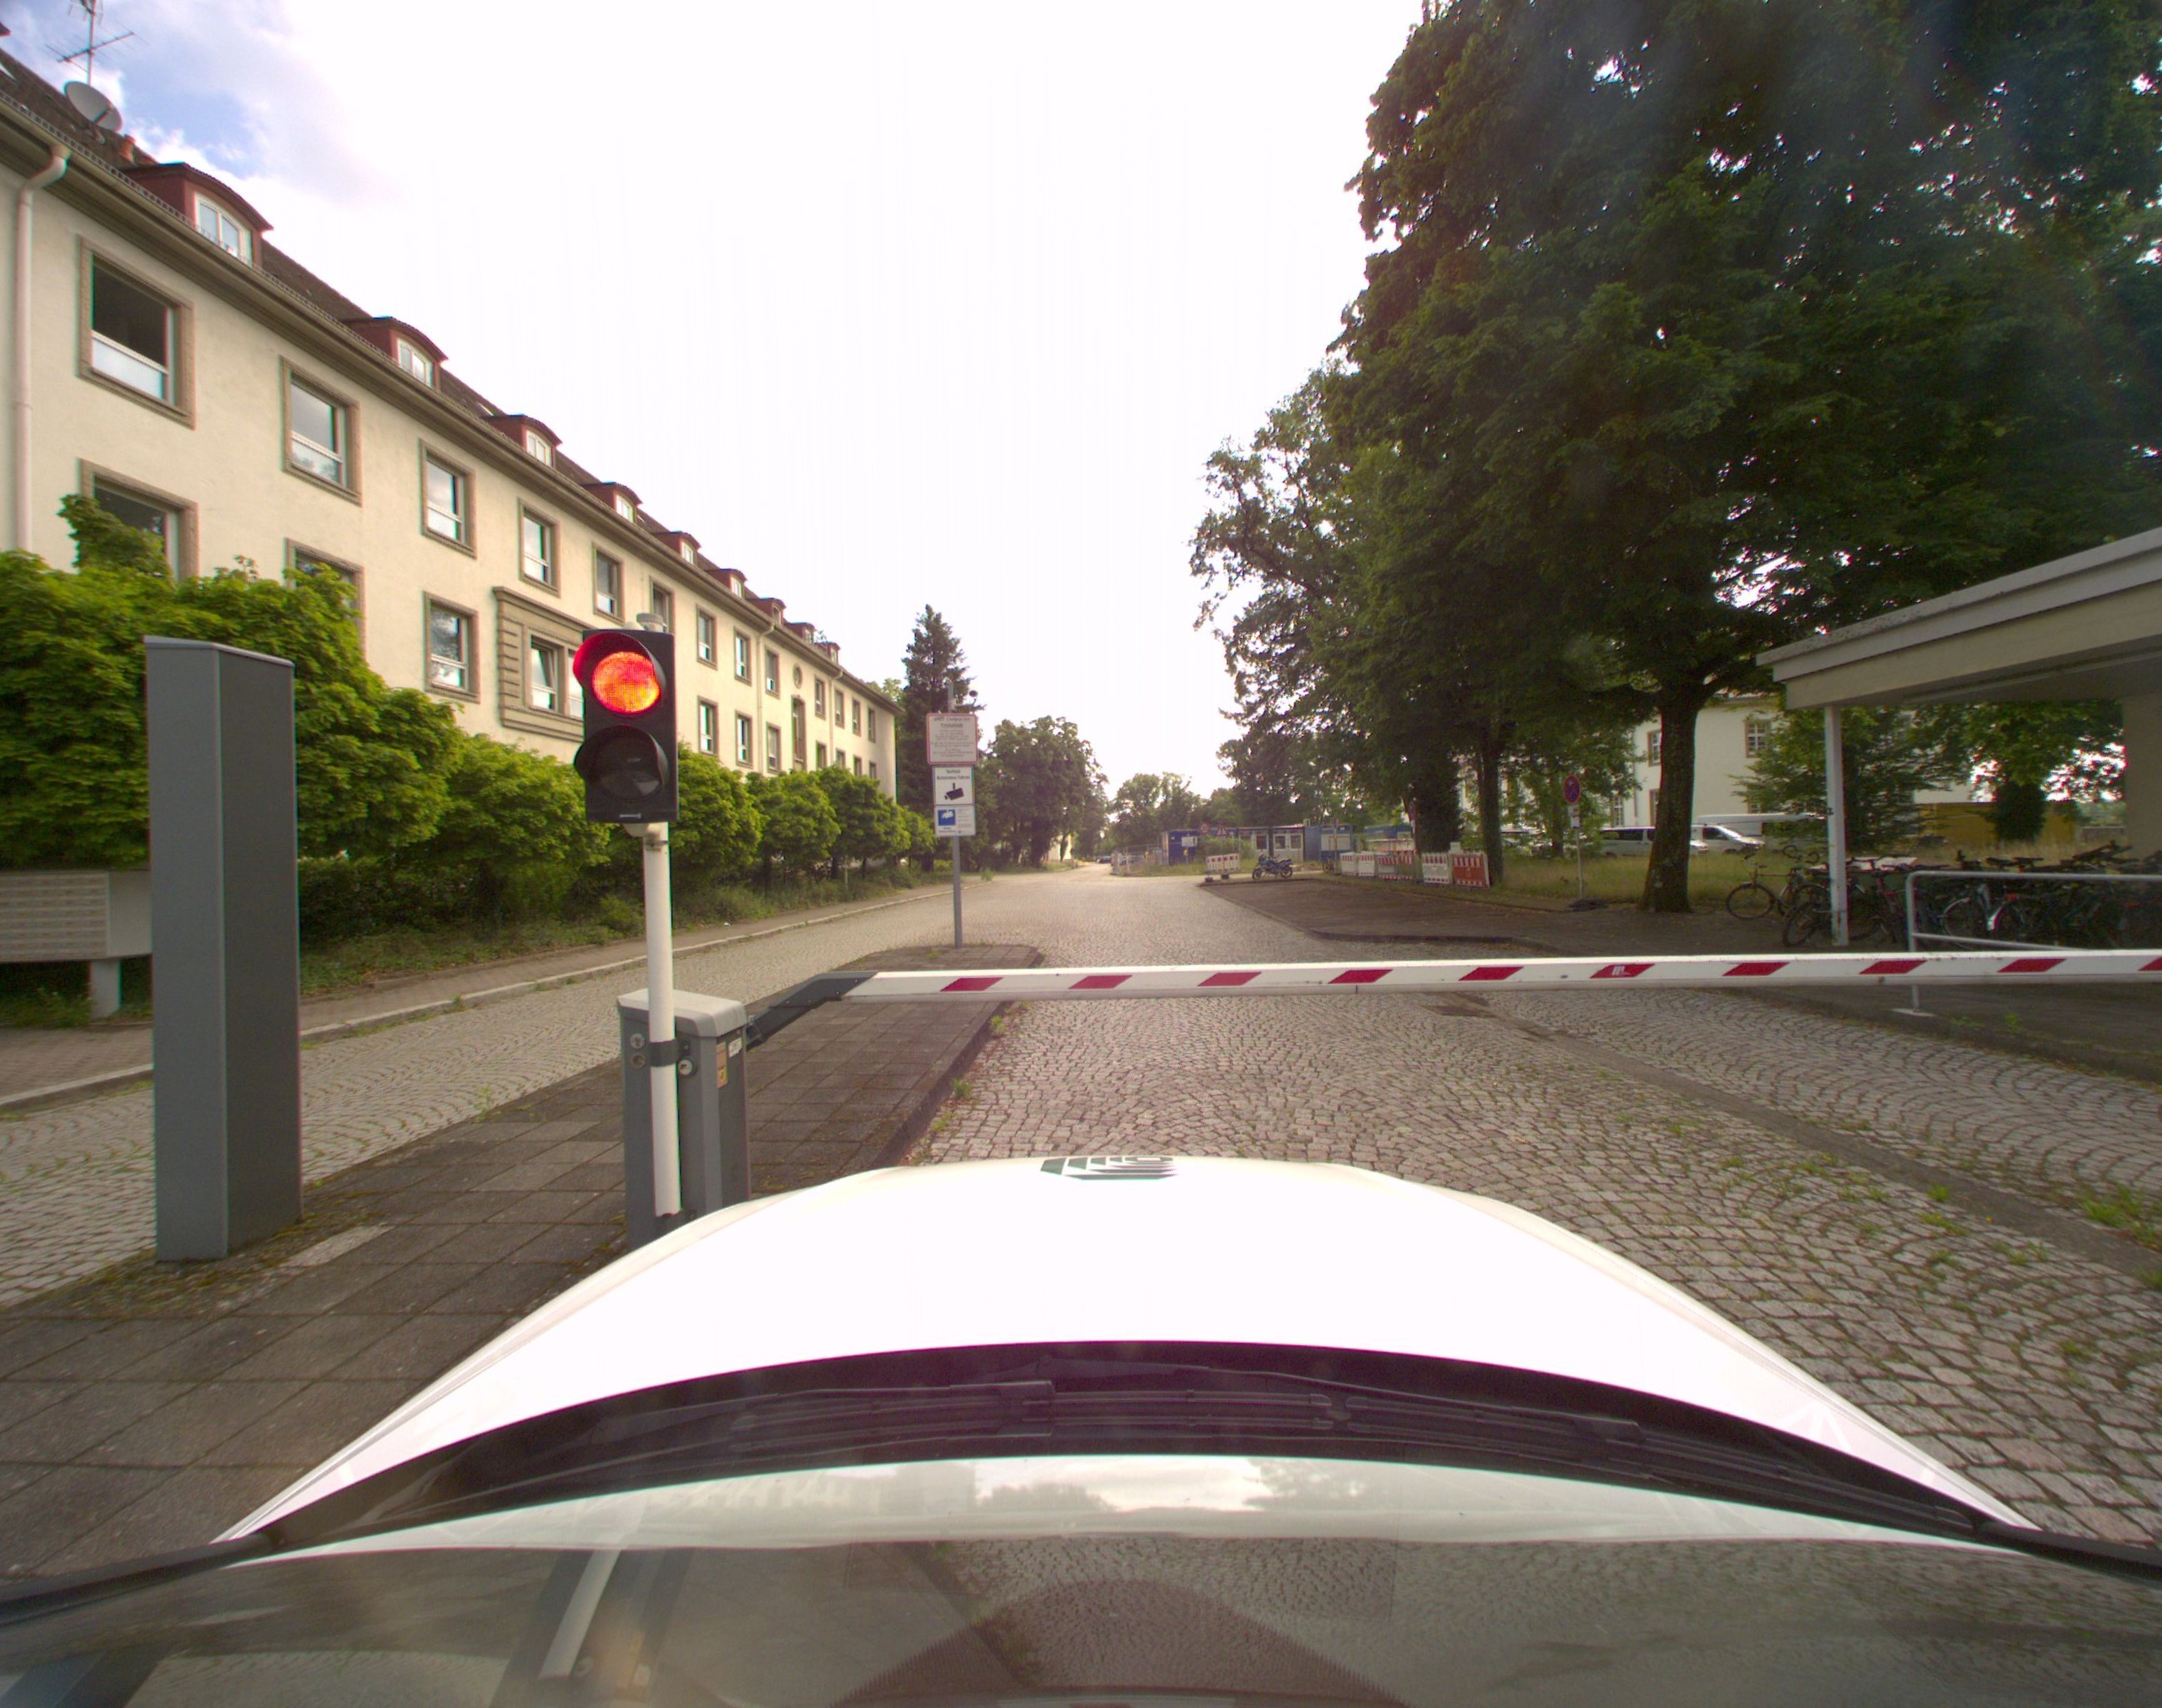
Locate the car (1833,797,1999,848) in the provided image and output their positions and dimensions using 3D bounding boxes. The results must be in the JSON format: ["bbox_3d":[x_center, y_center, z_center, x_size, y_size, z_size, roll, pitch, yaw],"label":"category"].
[{"bbox_3d":[40.431,-1.435,39.741,2.431,1.957,5.698,-2,-2,4],"label":"car"}]

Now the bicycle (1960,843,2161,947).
[{"bbox_3d":[11.751,0.449,9.663,0.371,1.119,1.893,-2,0,-8],"label":"bicycle"}]

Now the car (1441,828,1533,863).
[{"bbox_3d":[22.898,-0.437,46.044,4.201,1.820,2.002,-2,-1,4],"label":"car"}]

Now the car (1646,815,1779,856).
[{"bbox_3d":[31.171,-0.865,40.372,2.004,1.789,4.799,-1,-1,-26],"label":"car"}]

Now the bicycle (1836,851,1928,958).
[{"bbox_3d":[9.364,0.564,9.514,1.387,1.171,0.355,-1,-3,-30],"label":"bicycle"}]

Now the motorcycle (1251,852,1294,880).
[{"bbox_3d":[9.449,0.581,40.195,1.950,1.194,0.461,-3,4,0],"label":"motorcycle"}]

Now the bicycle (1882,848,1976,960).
[{"bbox_3d":[9.532,0.530,9.148,1.387,1.171,0.355,-1,-3,-30],"label":"bicycle"}]

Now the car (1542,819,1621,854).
[{"bbox_3d":[30.855,-1.040,50.385,1.986,2.013,4.842,-2,0,2],"label":"car"}]

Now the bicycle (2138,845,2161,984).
[{"bbox_3d":[9.998,0.481,6.996,1.805,1.171,0.494,-2,-2,-18],"label":"bicycle"}]

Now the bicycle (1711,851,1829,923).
[{"bbox_3d":[11.078,0.498,13.162,0.503,1.086,1.584,-2,0,-2],"label":"bicycle"}]

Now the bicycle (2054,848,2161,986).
[{"bbox_3d":[9.885,0.535,7.516,1.749,1.171,0.494,-2,-2,-18],"label":"bicycle"}]

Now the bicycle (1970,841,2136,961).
[{"bbox_3d":[10.158,0.482,8.522,1.377,1.171,0.358,-2,-2,-7],"label":"bicycle"}]

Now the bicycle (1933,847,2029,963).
[{"bbox_3d":[9.760,0.525,8.823,1.387,1.171,0.355,-1,-3,-30],"label":"bicycle"}]

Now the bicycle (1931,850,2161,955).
[{"bbox_3d":[11.055,0.503,9.351,0.371,1.067,1.907,-2,0,-8],"label":"bicycle"}]

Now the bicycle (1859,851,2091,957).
[{"bbox_3d":[10.458,0.543,9.622,0.446,1.119,1.785,-1,0,-23],"label":"bicycle"}]

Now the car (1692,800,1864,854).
[{"bbox_3d":[34.281,-1.235,40.332,2.005,2.308,6.142,-1,-1,-29],"label":"car"}]

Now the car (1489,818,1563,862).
[{"bbox_3d":[27.090,-0.781,49.771,1.984,2.424,5.365,-2,-1,6],"label":"car"}]

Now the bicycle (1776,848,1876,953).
[{"bbox_3d":[9.139,0.551,9.981,1.387,1.171,0.429,-3,-2,-30],"label":"bicycle"}]

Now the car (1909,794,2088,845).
[{"bbox_3d":[44.286,-1.599,39.591,2.431,1.957,5.698,-2,-2,4],"label":"car"}]

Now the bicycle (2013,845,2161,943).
[{"bbox_3d":[12.178,0.453,9.425,0.371,1.083,1.892,-2,-2,-8],"label":"bicycle"}]

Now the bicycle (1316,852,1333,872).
[{"bbox_3d":[12.455,0.420,41.665,0.330,1.008,1.726,-2,-2,2],"label":"bicycle"}]

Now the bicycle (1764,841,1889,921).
[{"bbox_3d":[11.682,0.425,12.823,0.502,1.171,1.555,-2,-2,2],"label":"bicycle"}]

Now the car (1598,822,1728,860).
[{"bbox_3d":[28.446,-0.593,40.015,2.004,1.650,4.799,-1,-1,-26],"label":"car"}]

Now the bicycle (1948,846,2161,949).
[{"bbox_3d":[11.402,0.481,9.467,0.371,1.081,1.893,-2,-2,-8],"label":"bicycle"}]

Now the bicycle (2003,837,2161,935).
[{"bbox_3d":[12.640,0.383,10.031,0.370,1.128,1.898,-2,-2,1],"label":"bicycle"}]

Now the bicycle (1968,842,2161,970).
[{"bbox_3d":[9.907,0.506,8.107,1.796,1.171,0.358,-2,-2,-4],"label":"bicycle"}]
